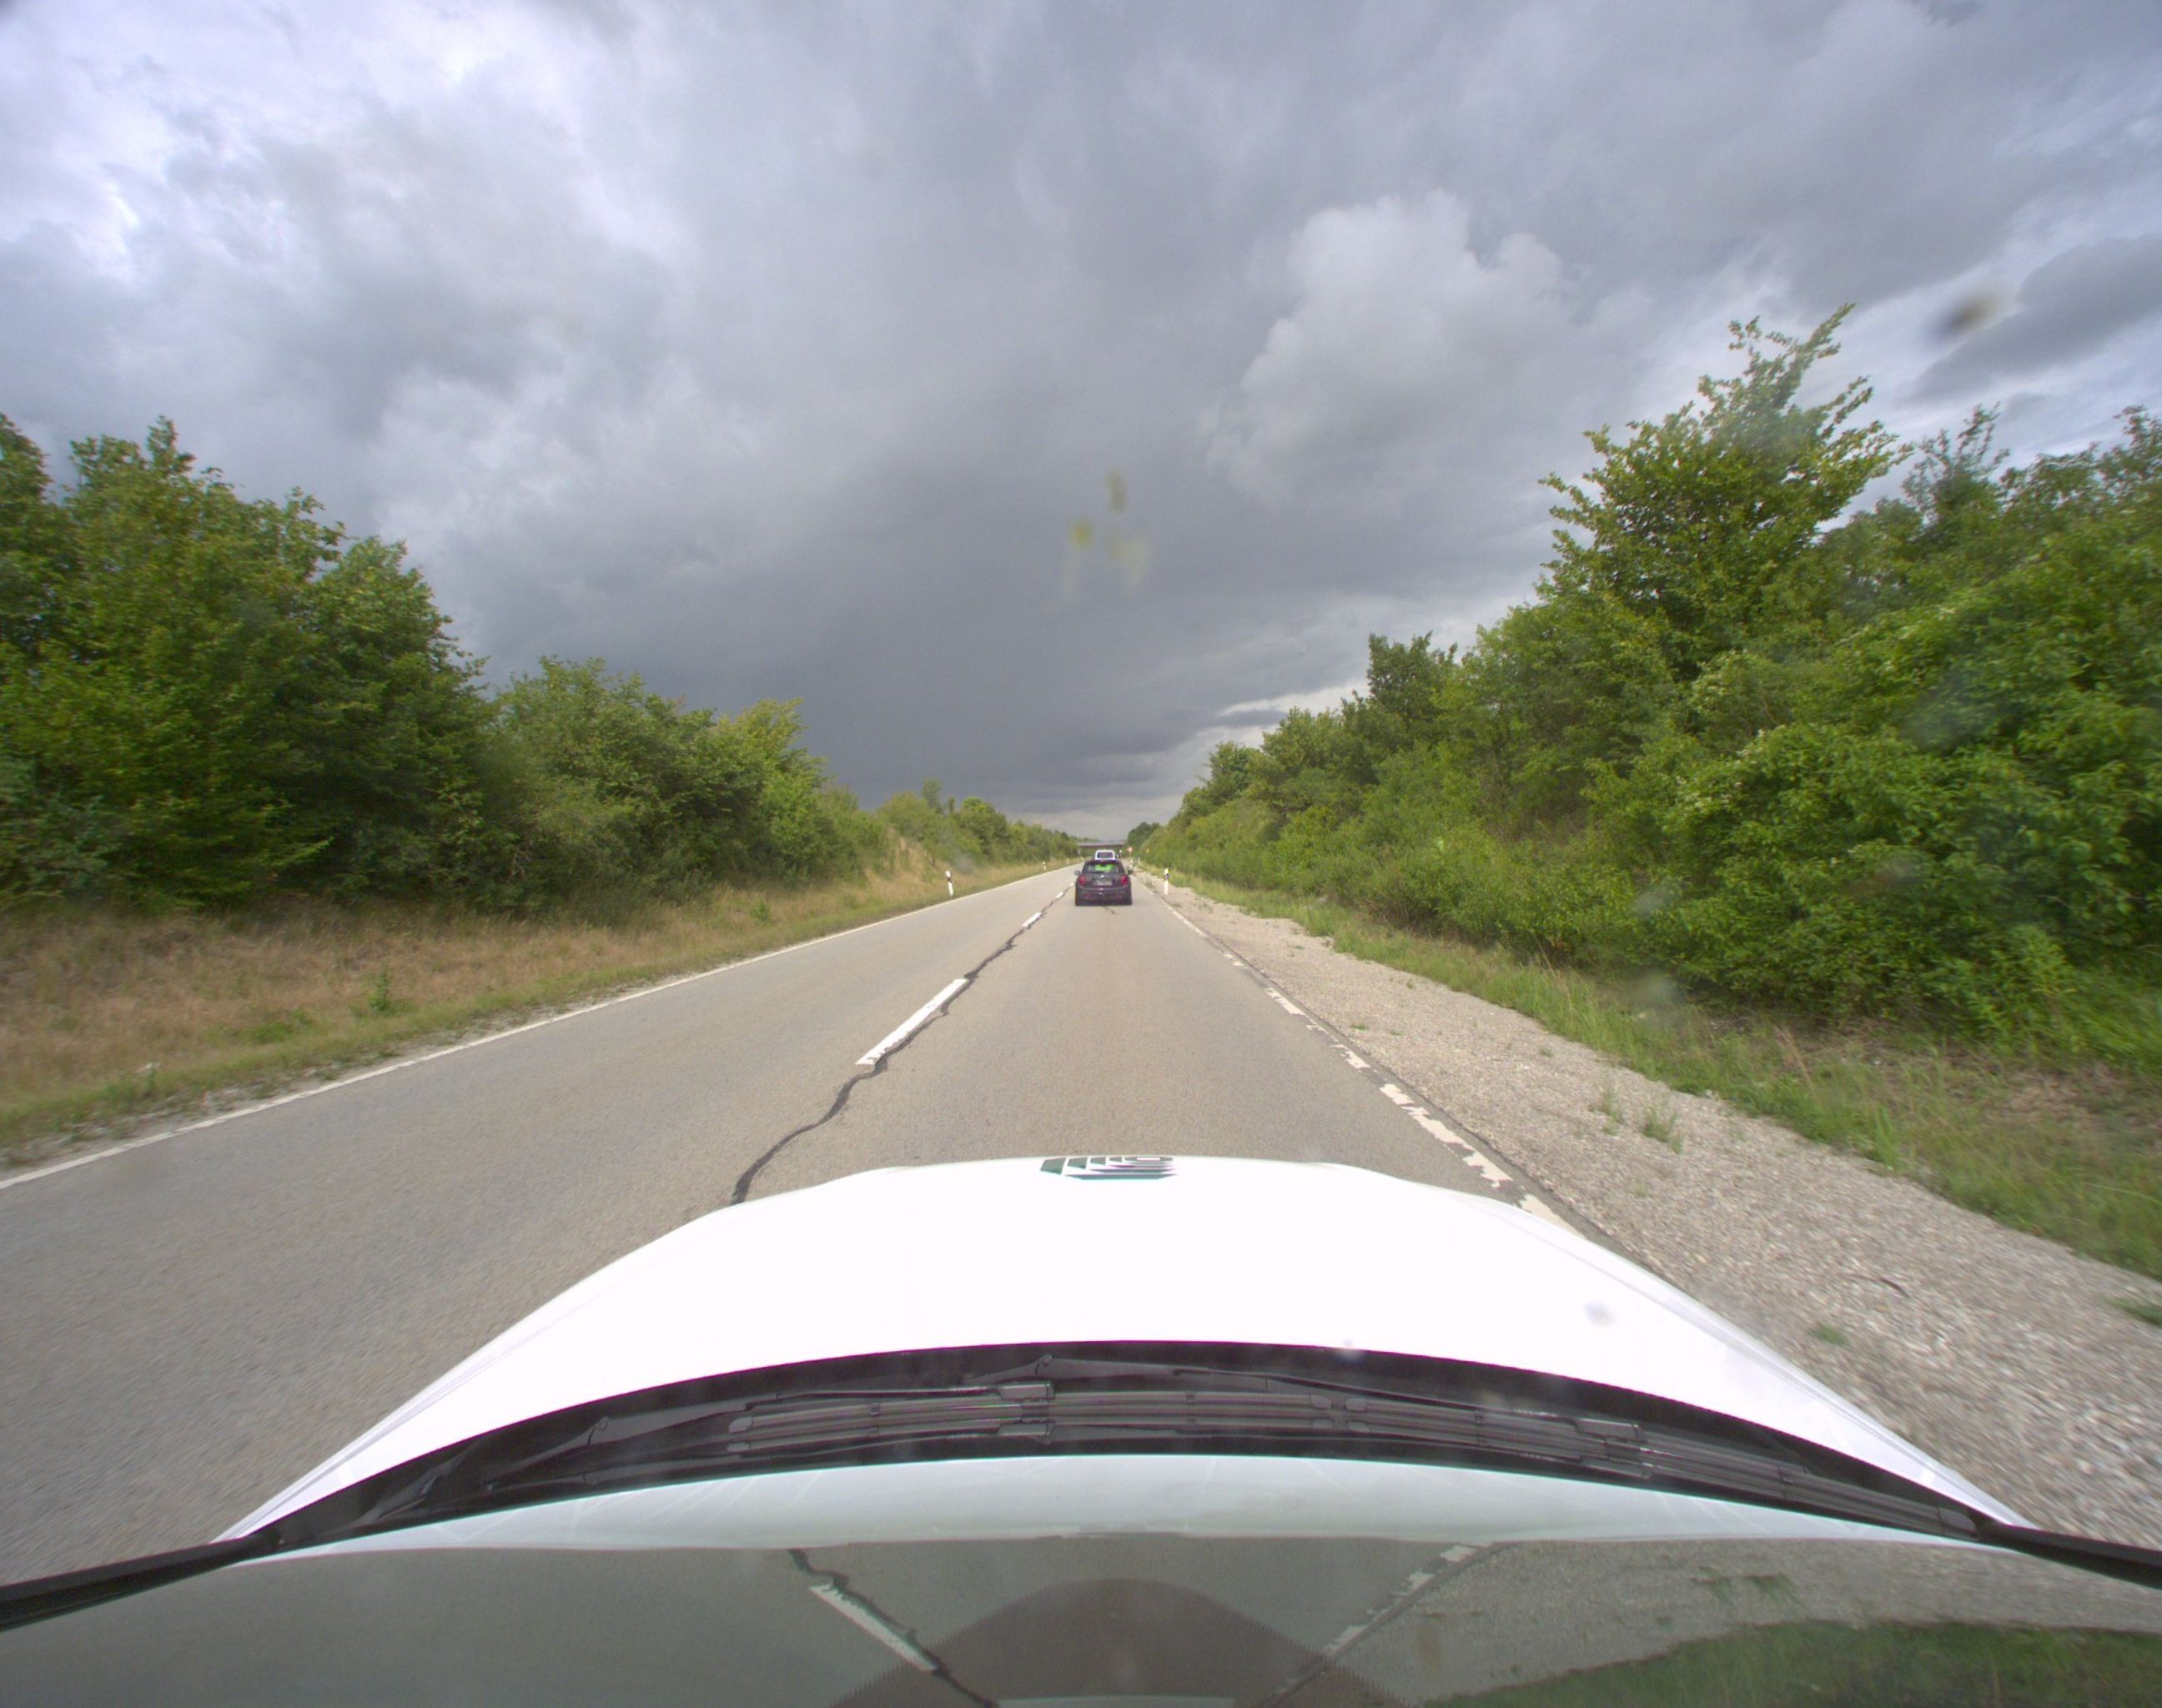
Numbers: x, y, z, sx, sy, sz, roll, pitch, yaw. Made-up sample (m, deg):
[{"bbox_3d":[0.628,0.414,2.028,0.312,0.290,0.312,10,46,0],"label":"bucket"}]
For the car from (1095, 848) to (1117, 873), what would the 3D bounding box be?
[{"bbox_3d":[2.200,0.577,71.016,1.813,2.054,4.001,-1,0,1],"label":"car"}]

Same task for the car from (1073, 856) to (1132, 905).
[{"bbox_3d":[0.694,0.803,26.149,1.750,1.427,4.001,-1,0,1],"label":"car"}]
